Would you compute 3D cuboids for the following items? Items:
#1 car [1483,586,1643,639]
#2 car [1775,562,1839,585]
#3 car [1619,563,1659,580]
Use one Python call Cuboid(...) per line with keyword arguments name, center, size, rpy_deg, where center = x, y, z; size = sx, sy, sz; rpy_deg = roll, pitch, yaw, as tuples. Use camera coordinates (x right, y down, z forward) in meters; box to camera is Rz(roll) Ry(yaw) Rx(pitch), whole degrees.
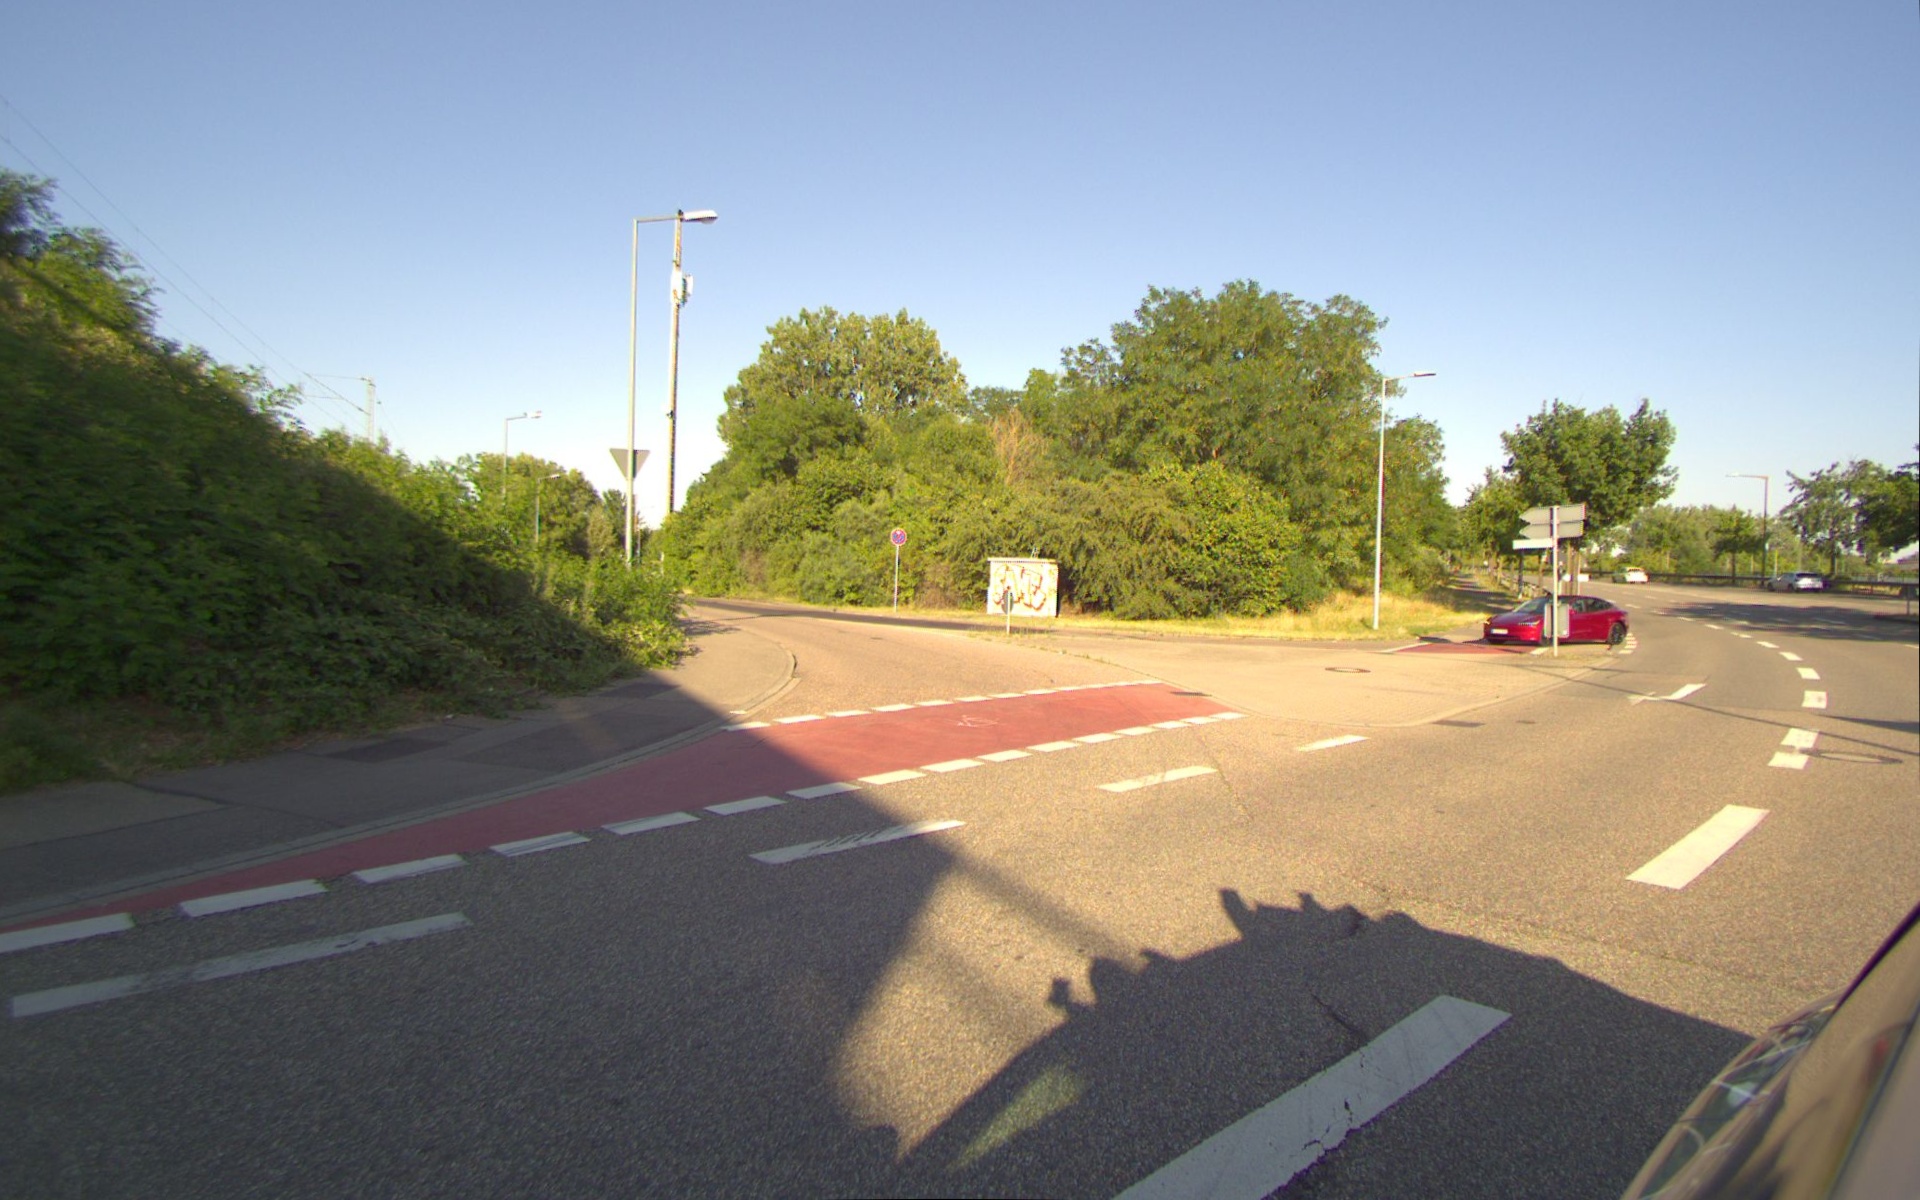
Cuboid(name="car", center=(17.450, 0.349, 29.299), size=(4.268, 1.460, 1.786), rpy_deg=(0, -1, -23))
Cuboid(name="car", center=(57.612, -1.838, 68.955), size=(1.653, 1.480, 4.090), rpy_deg=(1, 2, 14))
Cuboid(name="car", center=(60.471, -2.546, 90.232), size=(1.720, 1.481, 3.752), rpy_deg=(0, 1, 13))
